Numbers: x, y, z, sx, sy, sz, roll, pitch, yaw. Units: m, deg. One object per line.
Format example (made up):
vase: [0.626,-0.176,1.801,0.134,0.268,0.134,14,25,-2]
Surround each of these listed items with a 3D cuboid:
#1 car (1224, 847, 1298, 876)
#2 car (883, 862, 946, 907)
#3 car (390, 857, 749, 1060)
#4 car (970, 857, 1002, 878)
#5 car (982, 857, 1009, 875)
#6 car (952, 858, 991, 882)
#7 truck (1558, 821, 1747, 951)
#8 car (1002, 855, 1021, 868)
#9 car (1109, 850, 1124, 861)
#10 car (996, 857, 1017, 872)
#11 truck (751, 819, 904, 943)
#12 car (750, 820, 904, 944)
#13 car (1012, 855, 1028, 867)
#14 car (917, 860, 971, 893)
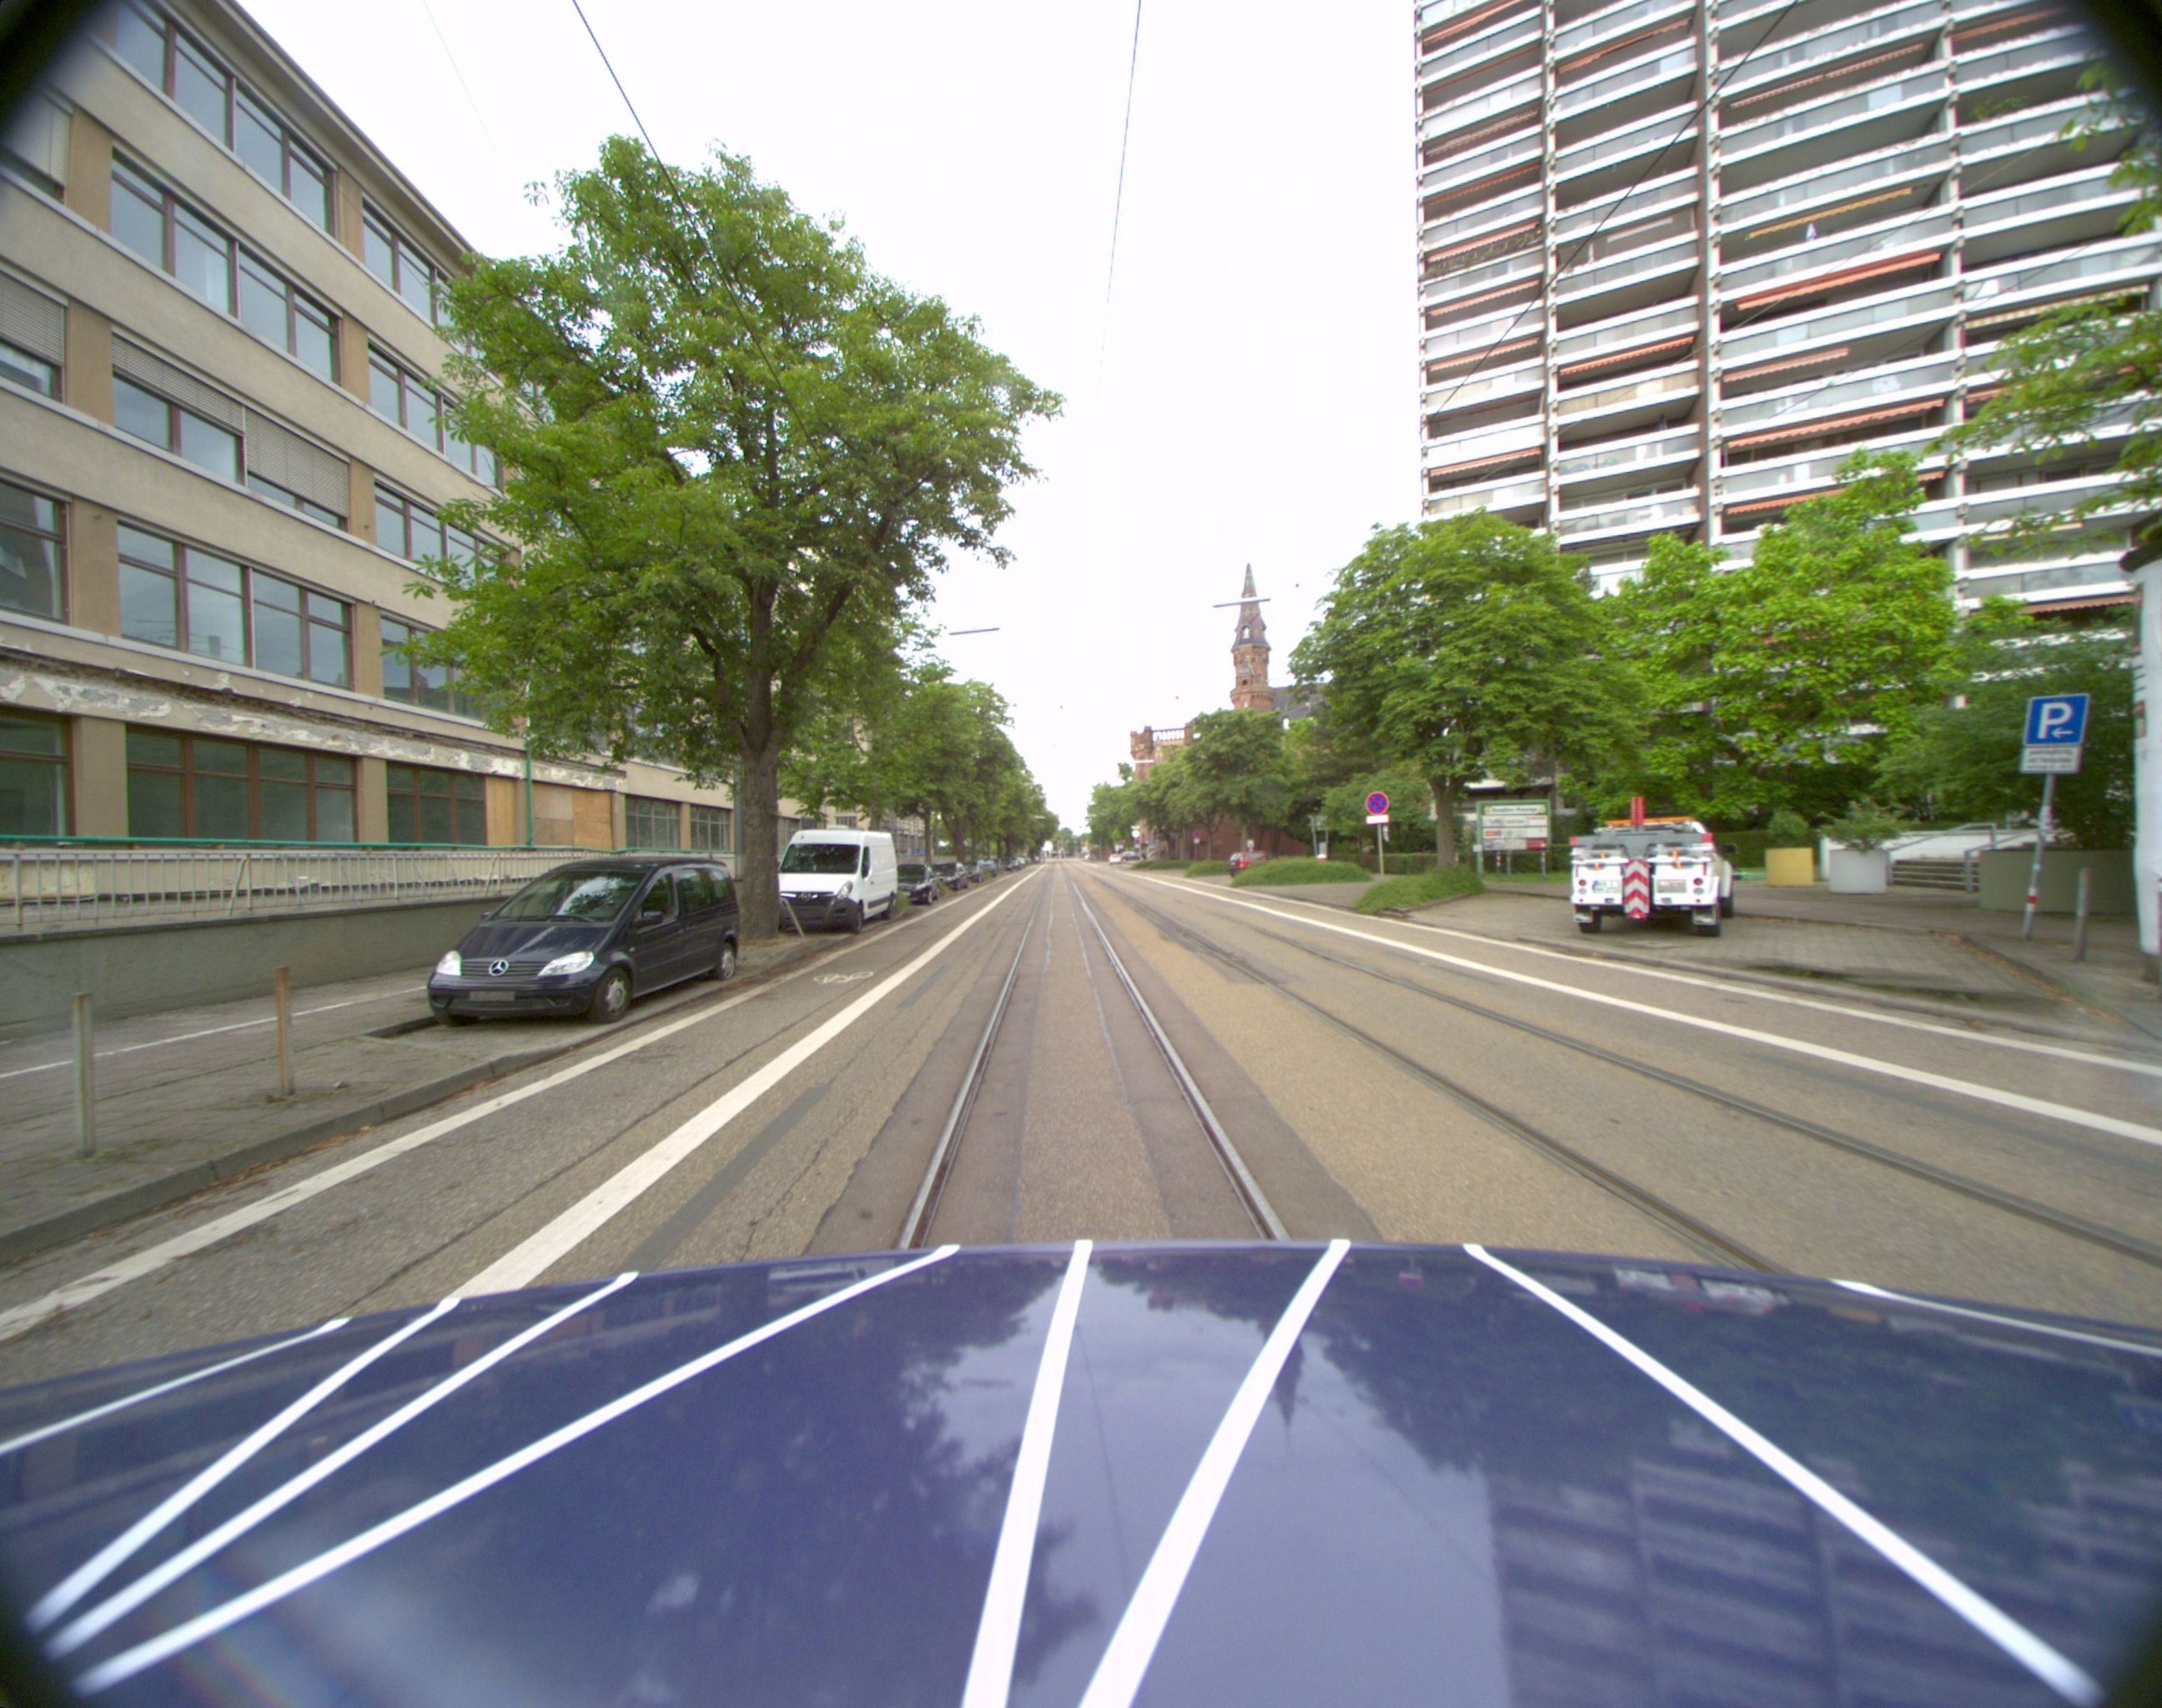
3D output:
car: [9.777,0.385,41.301,3.505,1.369,1.632,-2,2,-15]
car: [-6.183,1.084,28.597,1.826,1.491,4.103,0,1,-5]
car: [-5.792,1.011,9.336,1.658,1.802,4.083,-2,1,-2]
car: [-7.350,1.018,59.139,1.999,1.452,4.392,-2,0,-2]
car: [-7.486,1.055,67.186,1.999,1.452,4.392,-2,0,-2]
car: [-7.125,1.017,49.892,1.999,1.452,4.392,-2,0,-2]
truck: [10.101,0.399,13.237,1.994,1.838,5.074,-2,1,44]
car: [-8.505,0.930,93.697,1.999,1.452,4.392,-2,0,-2]
car: [5.325,0.250,114.510,1.999,1.521,3.999,-1,0,-2]
car: [-7.998,1.093,82.024,1.999,1.452,4.392,-2,0,-2]
truck: [-6.107,0.574,19.160,2.118,2.587,5.490,-2,0,-2]
car: [-6.103,0.599,19.133,2.118,2.587,5.490,-2,0,-2]
car: [-8.645,0.969,107.522,1.999,1.452,4.392,-2,0,-2]
car: [-6.836,1.082,38.289,1.999,1.452,4.392,-2,0,-2]
